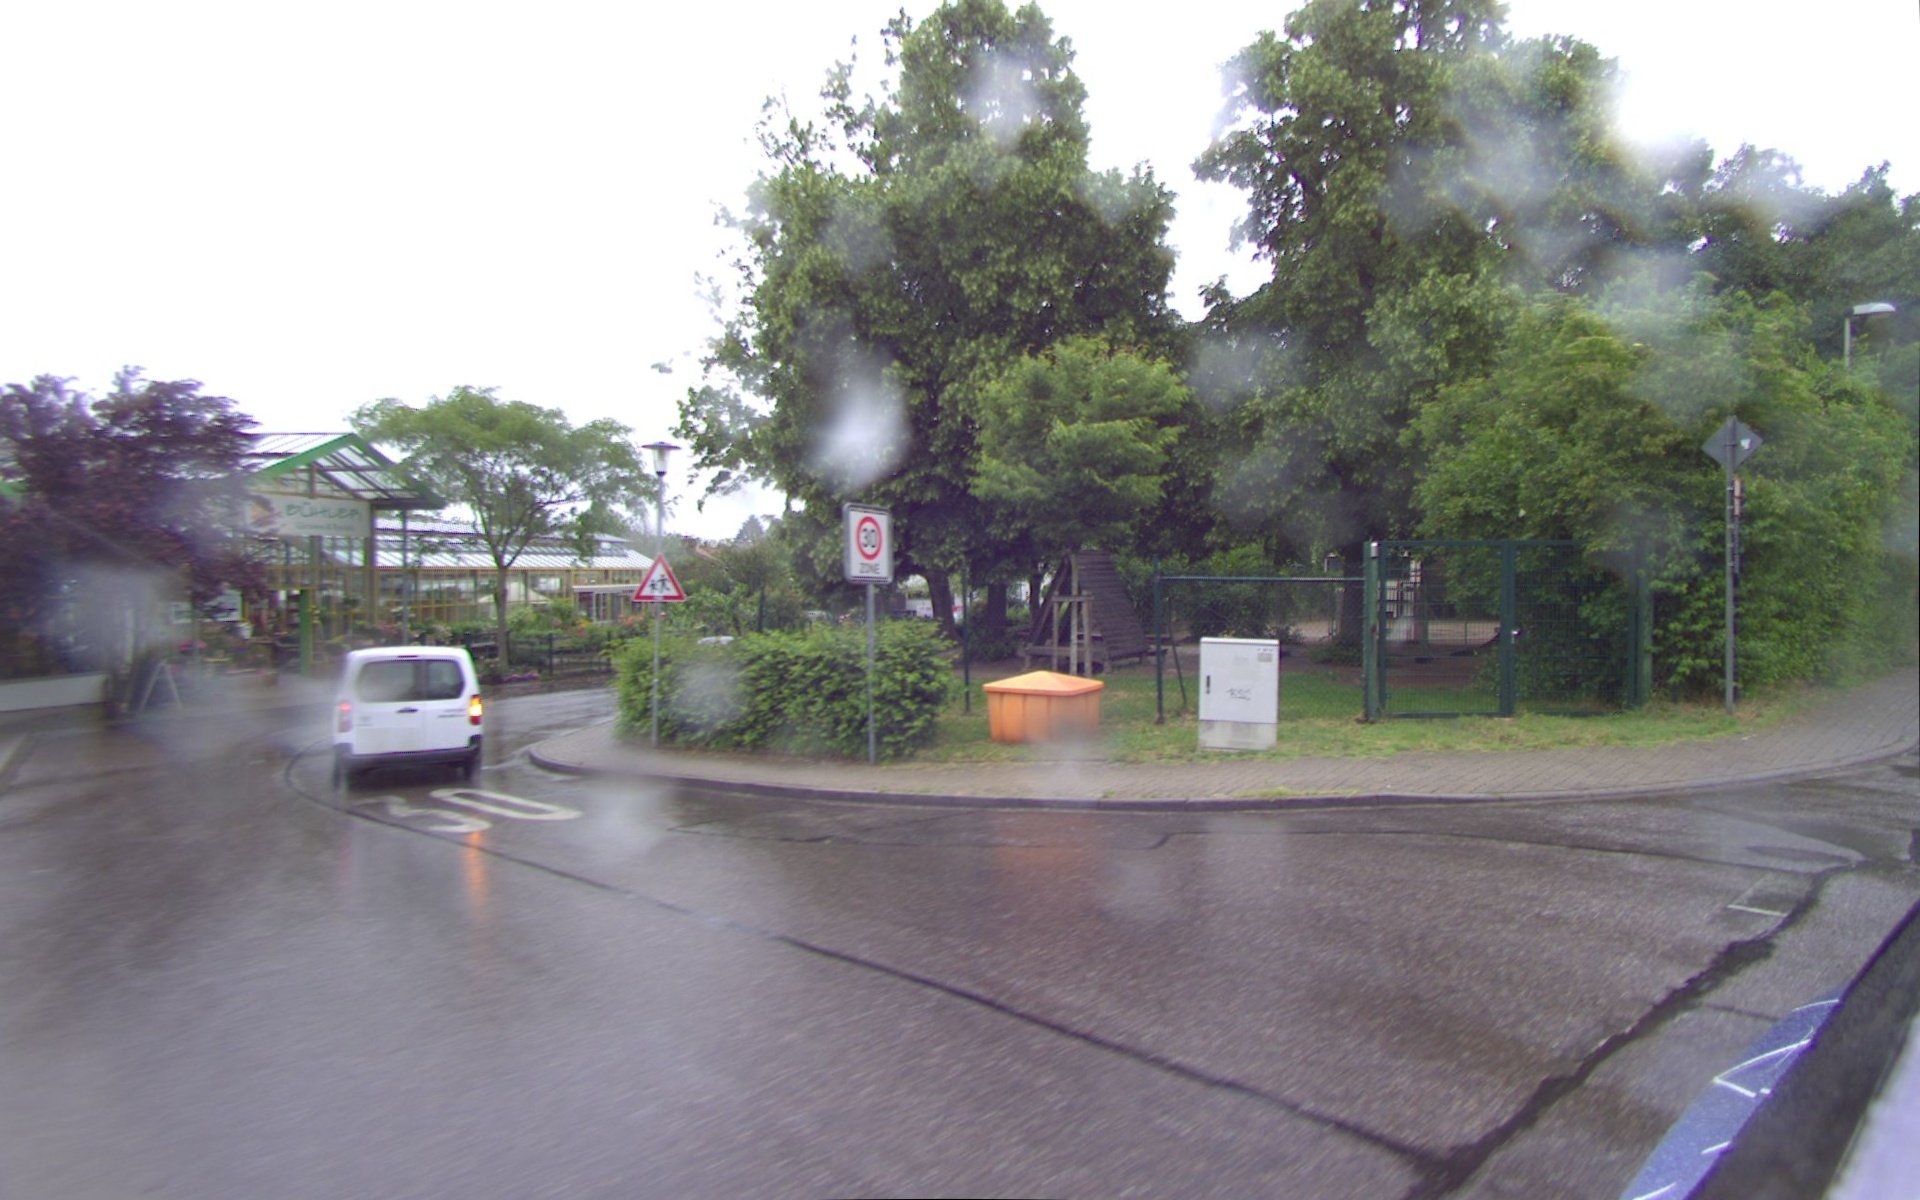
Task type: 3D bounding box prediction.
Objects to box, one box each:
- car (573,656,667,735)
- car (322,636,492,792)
[{"bbox_3d":[-6.412,1.766,19.260,1.090,1.192,2.535,-4,0,-5],"label":"car"},{"bbox_3d":[-8.135,1.567,14.774,1.866,1.830,4.000,-2,-3,-31],"label":"car"}]
